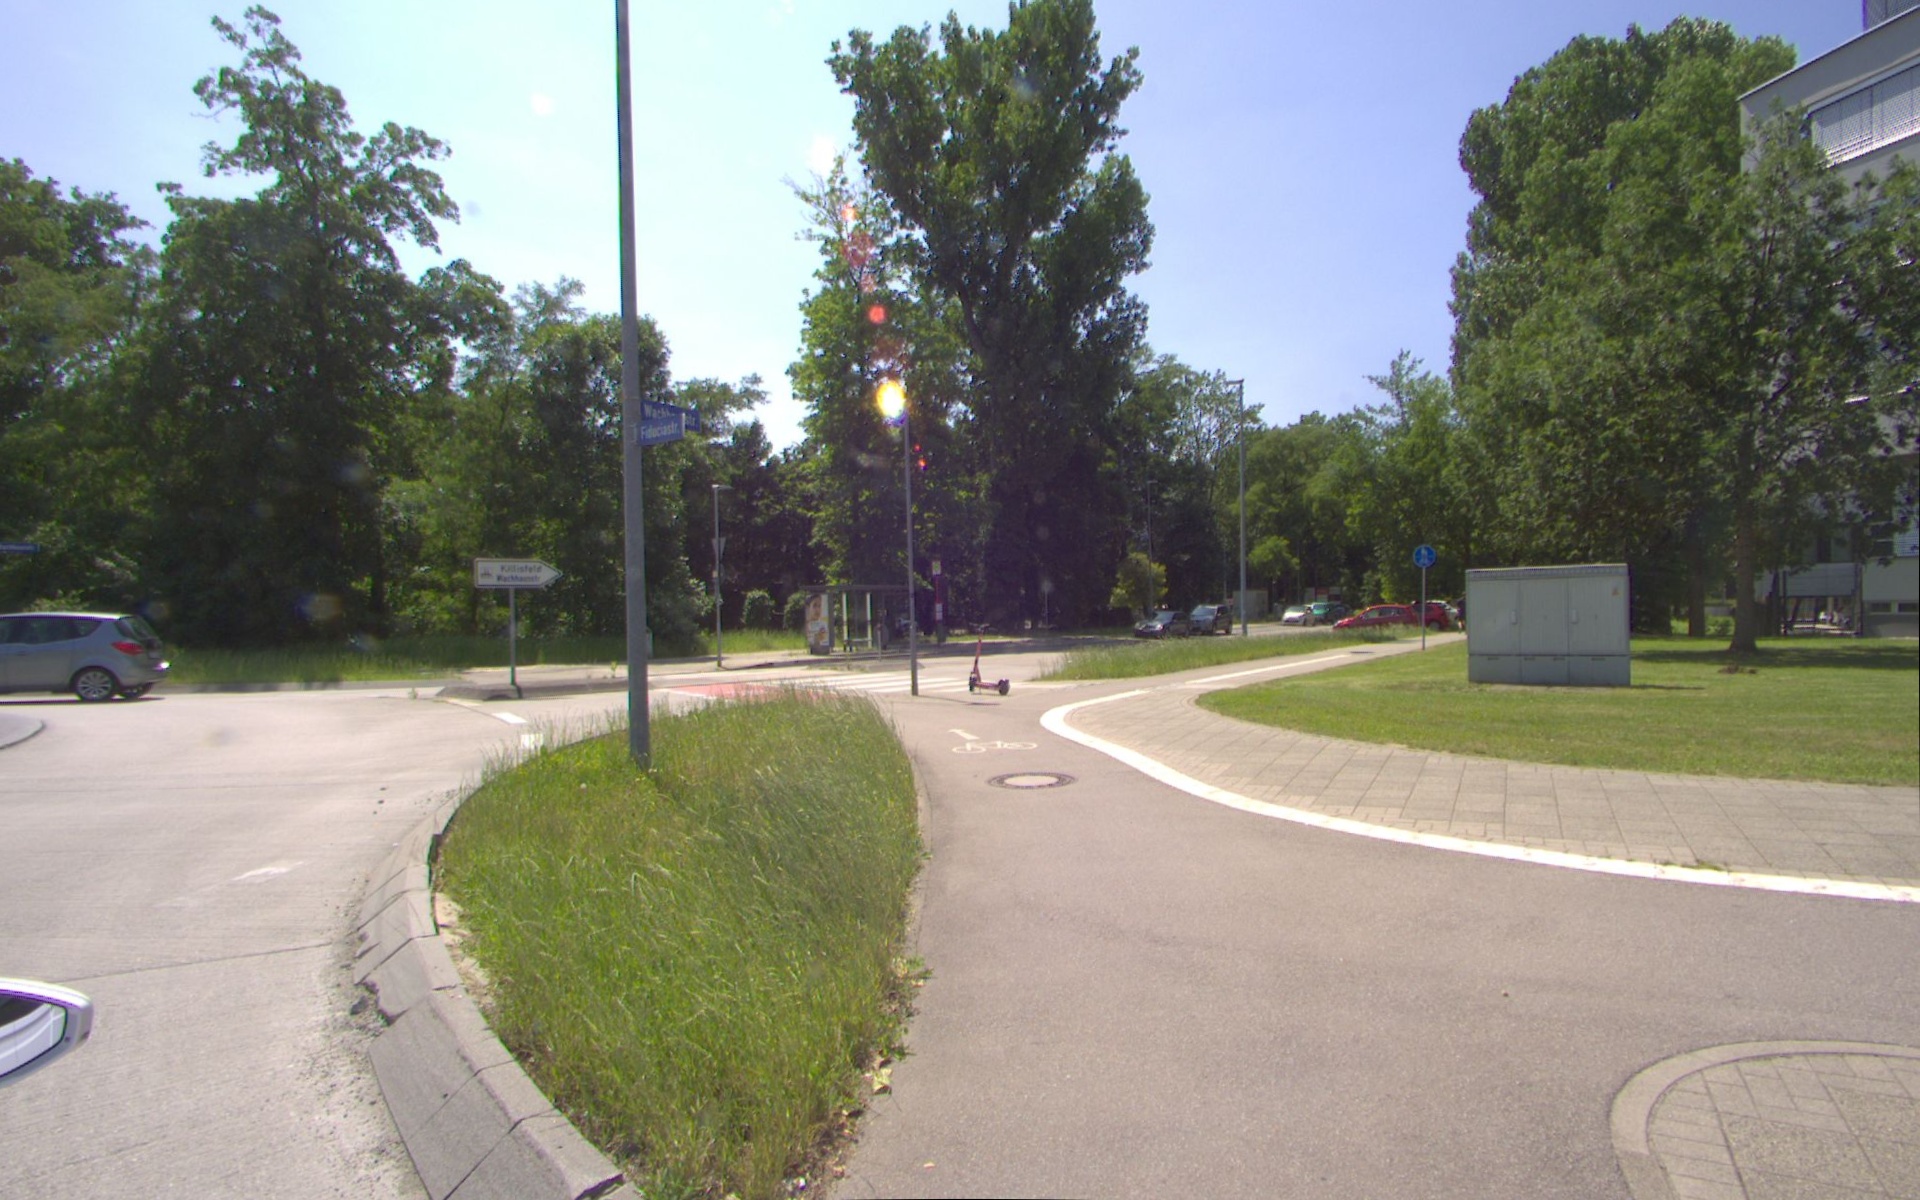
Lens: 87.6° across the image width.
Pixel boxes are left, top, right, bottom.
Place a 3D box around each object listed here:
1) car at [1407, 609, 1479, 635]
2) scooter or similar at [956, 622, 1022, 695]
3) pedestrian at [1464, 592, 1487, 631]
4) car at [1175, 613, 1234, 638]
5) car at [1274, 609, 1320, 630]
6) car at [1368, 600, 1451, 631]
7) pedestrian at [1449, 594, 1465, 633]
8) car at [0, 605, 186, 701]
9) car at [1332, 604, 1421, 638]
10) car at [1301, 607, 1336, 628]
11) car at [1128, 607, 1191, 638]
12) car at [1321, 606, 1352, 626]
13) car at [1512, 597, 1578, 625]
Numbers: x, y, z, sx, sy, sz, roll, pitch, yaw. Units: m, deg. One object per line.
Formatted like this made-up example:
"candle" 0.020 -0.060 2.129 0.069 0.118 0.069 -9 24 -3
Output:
"car" 28.313 1.297 58.677 3.632 1.502 1.860 -2 -1 32
"scooter or similar" 0.489 0.992 17.318 0.442 1.217 1.391 0 -1 -31
"pedestrian" 21.436 0.489 41.664 0.564 1.629 0.641 0 -1 -28
"car" 13.956 1.447 57.048 1.973 1.327 3.976 -2 -2 35
"car" 24.503 1.424 72.733 1.975 1.488 3.973 -2 -2 37
"car" 22.664 0.806 50.525 3.632 1.502 1.860 -2 -1 32
"pedestrian" 20.795 0.561 41.892 0.477 1.637 0.587 -1 -1 19
"car" -16.727 0.943 18.033 4.060 1.627 1.785 0 -1 -23
"car" 19.484 0.980 46.852 3.632 1.502 1.860 -2 -1 32
"car" 27.251 1.346 76.121 1.713 1.563 3.425 -1 -2 34
"car" 10.398 1.135 52.013 1.680 1.506 3.976 2 0 35
"car" 30.519 1.304 81.058 1.711 1.513 3.427 -1 0 32
"car" 44.459 0.845 76.175 1.968 2.039 3.987 0 -1 -24
